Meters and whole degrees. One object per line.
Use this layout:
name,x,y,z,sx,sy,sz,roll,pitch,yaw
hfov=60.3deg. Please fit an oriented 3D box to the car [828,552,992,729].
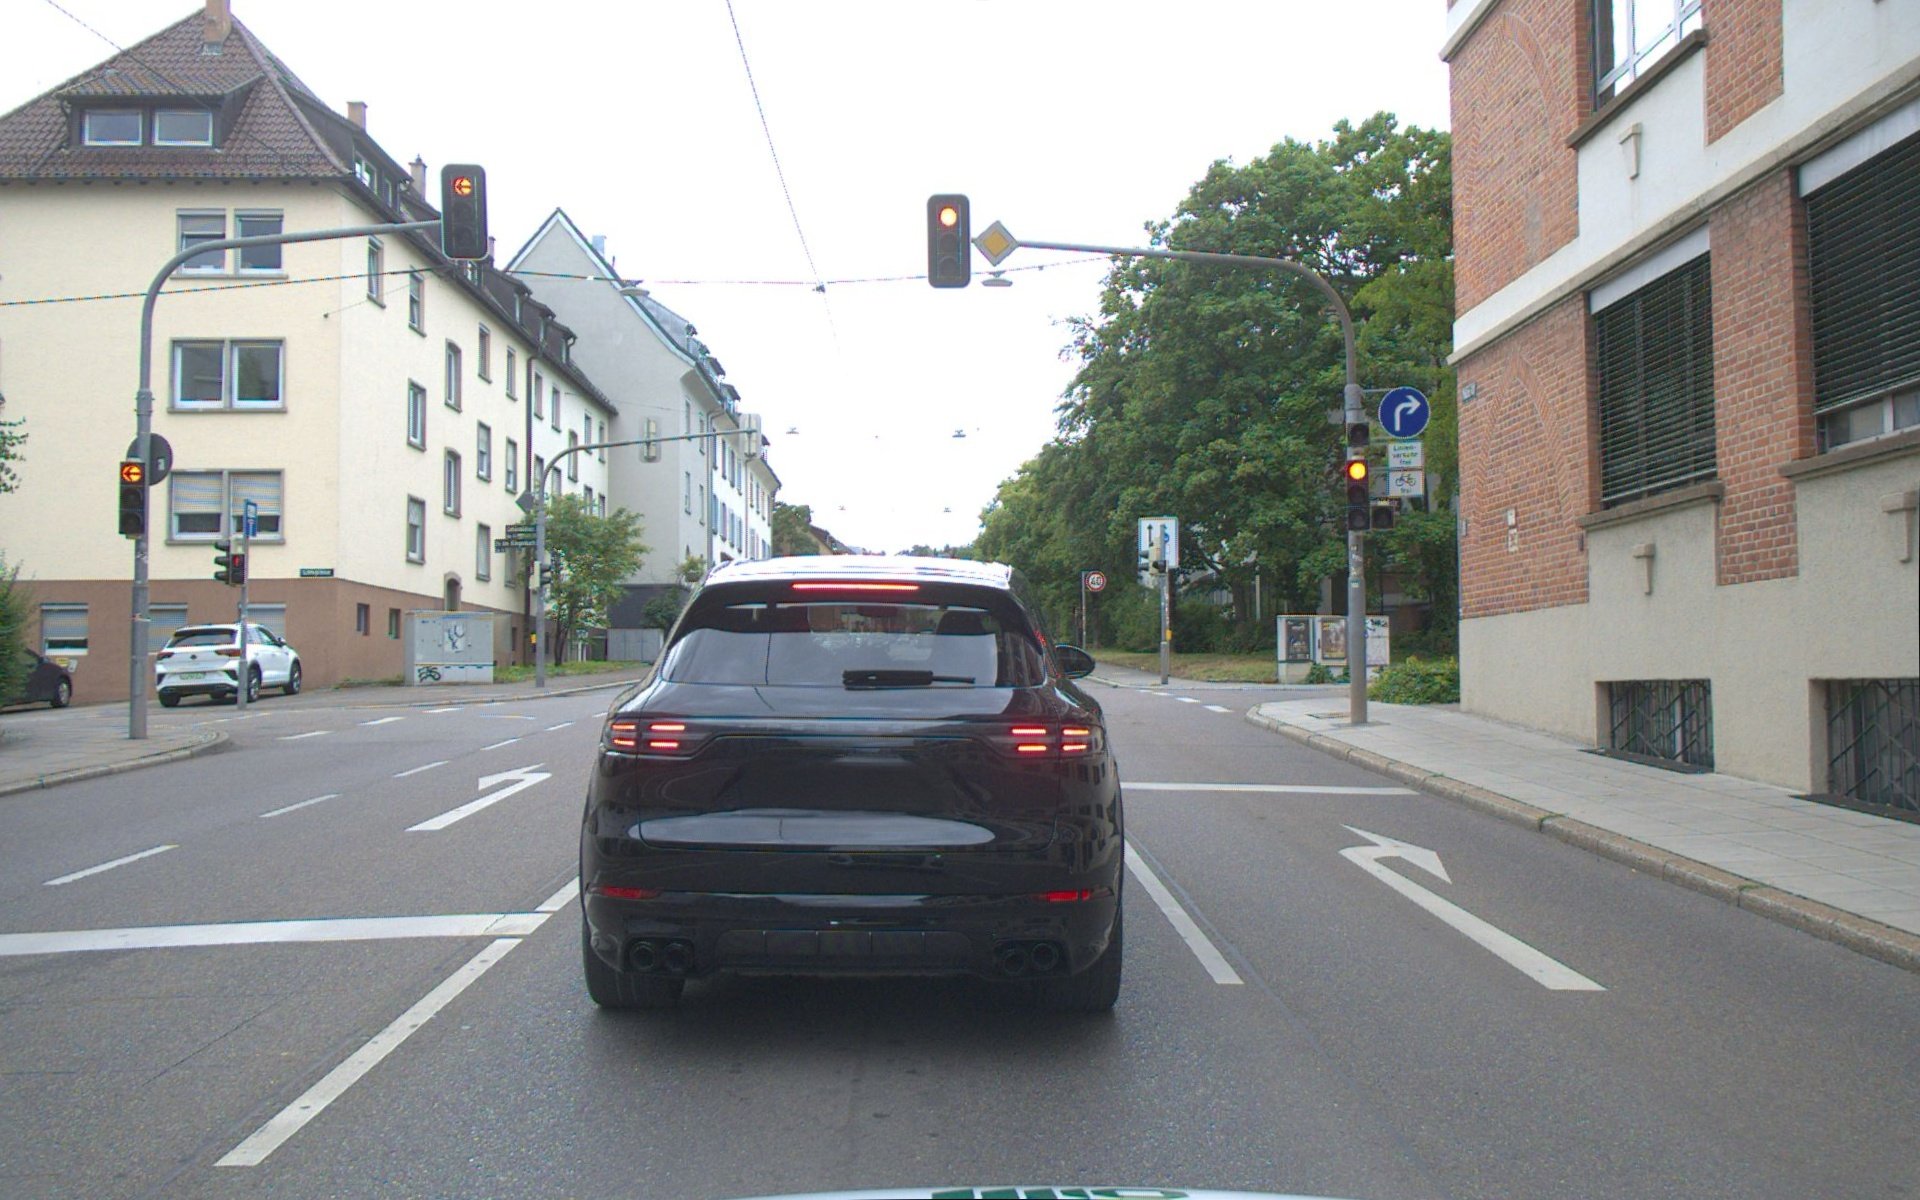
car,-0.620,0.482,21.876,1.925,2.078,4.134,1,0,-1

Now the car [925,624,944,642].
car,-2.511,3.262,163.216,1.790,1.633,4.134,1,0,-1

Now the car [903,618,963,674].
car,-0.842,1.430,52.500,1.790,1.633,3.858,1,0,-1

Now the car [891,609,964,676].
car,-0.837,1.077,43.788,1.790,1.633,4.134,1,0,-1

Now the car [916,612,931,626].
car,-4.624,2.395,210.159,1.790,1.633,4.134,1,0,-1

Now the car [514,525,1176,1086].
car,-0.370,0.629,7.230,2.007,1.695,4.266,1,0,-1

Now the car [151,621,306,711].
car,-14.723,1.280,33.483,1.658,1.582,3.762,-3,0,-5

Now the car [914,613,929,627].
car,-4.697,2.446,202.832,1.790,1.633,4.134,1,0,-1

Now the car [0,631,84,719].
car,-19.629,1.527,33.755,1.658,1.636,3.762,-3,0,-5

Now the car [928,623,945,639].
car,-2.581,3.425,182.388,1.790,1.633,4.134,1,0,-1
